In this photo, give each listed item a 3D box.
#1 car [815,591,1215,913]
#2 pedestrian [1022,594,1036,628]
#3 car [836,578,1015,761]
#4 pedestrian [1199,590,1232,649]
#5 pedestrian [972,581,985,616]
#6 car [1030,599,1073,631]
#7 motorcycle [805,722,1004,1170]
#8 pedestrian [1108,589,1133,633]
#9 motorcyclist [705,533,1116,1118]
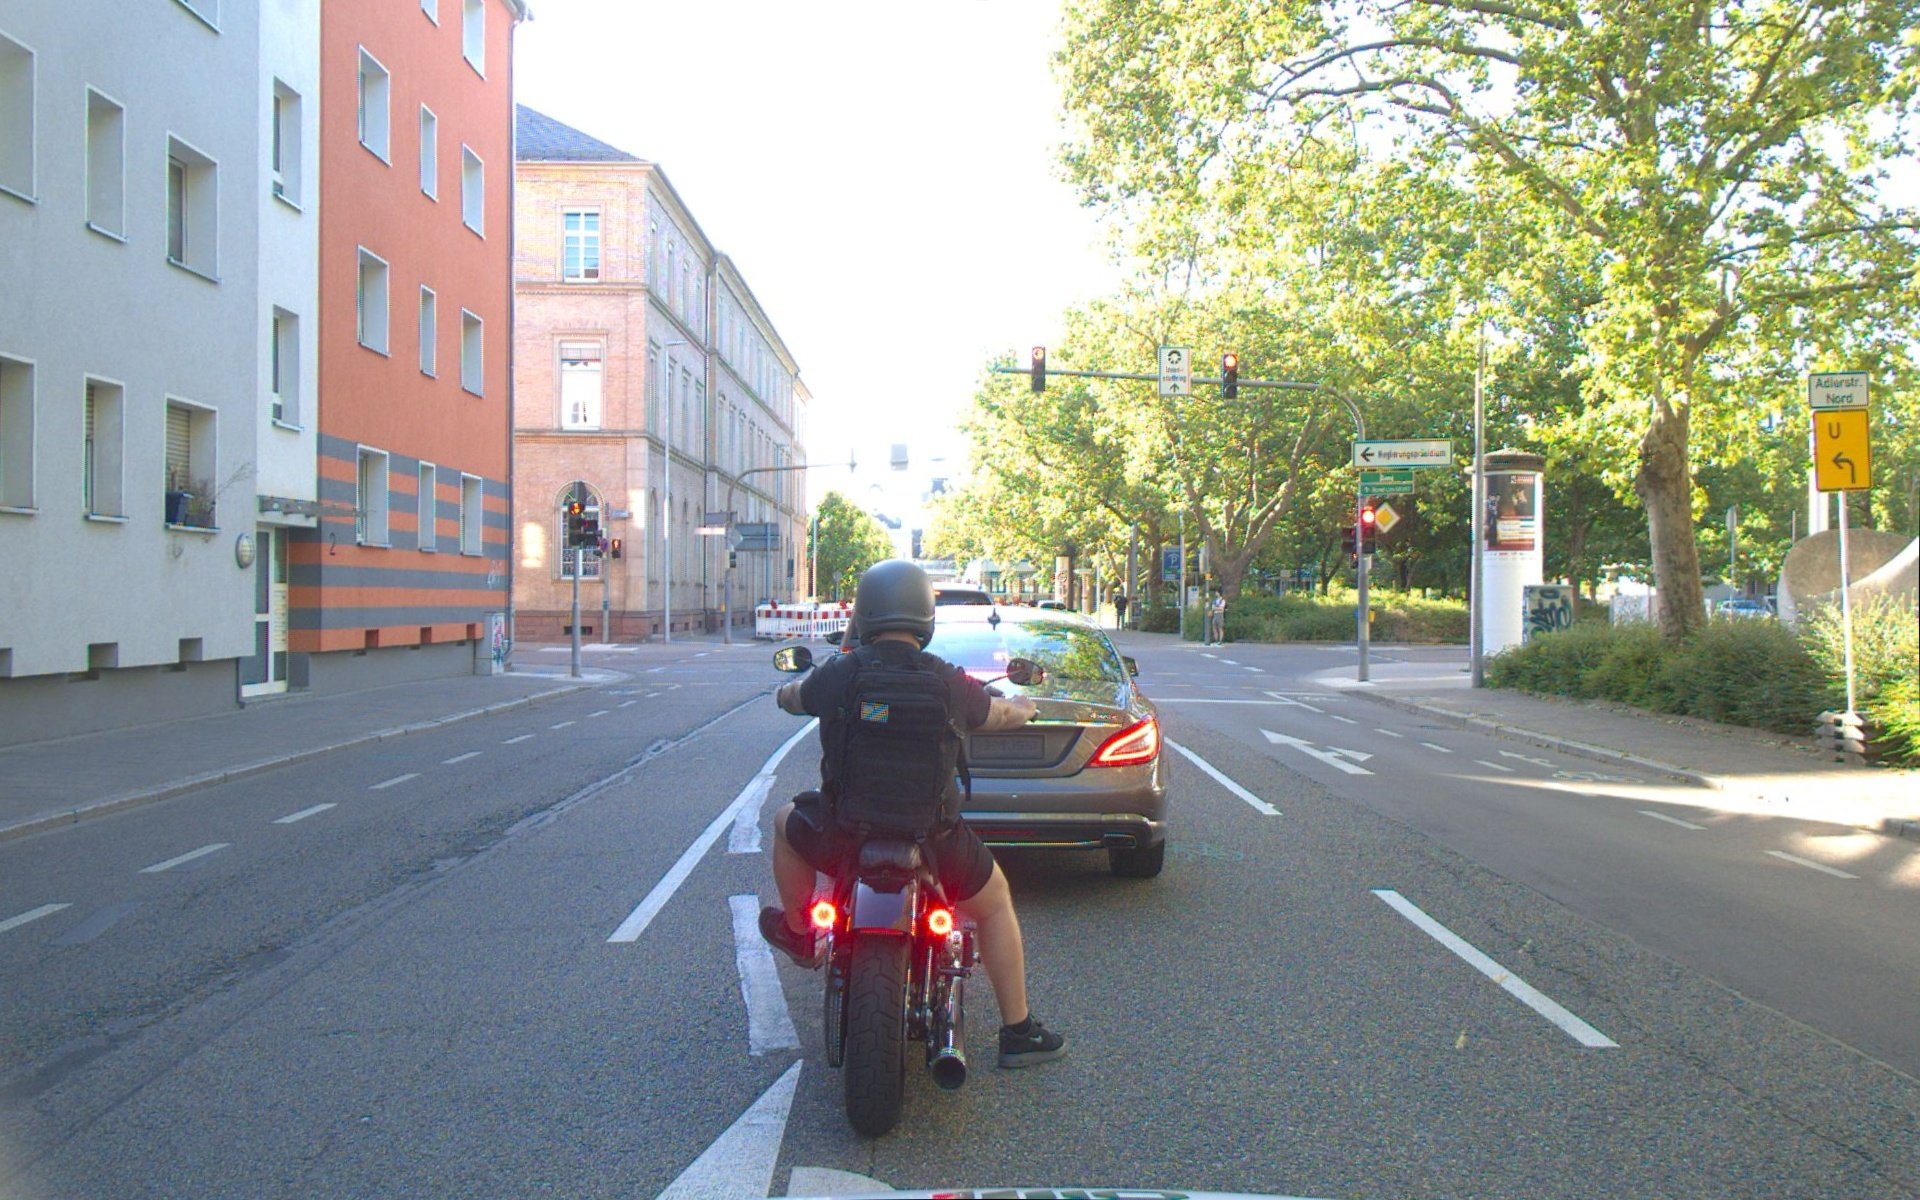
[{"bbox_3d":[0.232,0.699,9.628,1.844,1.475,3.819,1,0,-1],"label":"car"},{"bbox_3d":[4.241,0.680,101.640,0.797,2.049,1.270,1,0,-1],"label":"pedestrian"},{"bbox_3d":[-0.335,0.611,16.736,1.588,1.622,3.999,0,0,-1],"label":"car"},{"bbox_3d":[8.209,0.616,53.165,0.980,1.858,1.077,1,0,5],"label":"pedestrian"},{"bbox_3d":[1.113,-0.088,100.880,0.748,2.087,0.712,1,-1,-1],"label":"pedestrian"},{"bbox_3d":[4.333,0.684,78.758,1.740,1.453,3.801,0,0,-1],"label":"car"},{"bbox_3d":[-0.159,0.975,5.314,0.503,1.020,2.013,1,0,-1],"label":"motorcycle"},{"bbox_3d":[7.127,0.482,73.456,0.741,1.943,0.917,1,-1,-29],"label":"pedestrian"},{"bbox_3d":[-0.145,0.637,5.290,1.125,1.626,1.288,1,0,-1],"label":"motorcyclist"}]
